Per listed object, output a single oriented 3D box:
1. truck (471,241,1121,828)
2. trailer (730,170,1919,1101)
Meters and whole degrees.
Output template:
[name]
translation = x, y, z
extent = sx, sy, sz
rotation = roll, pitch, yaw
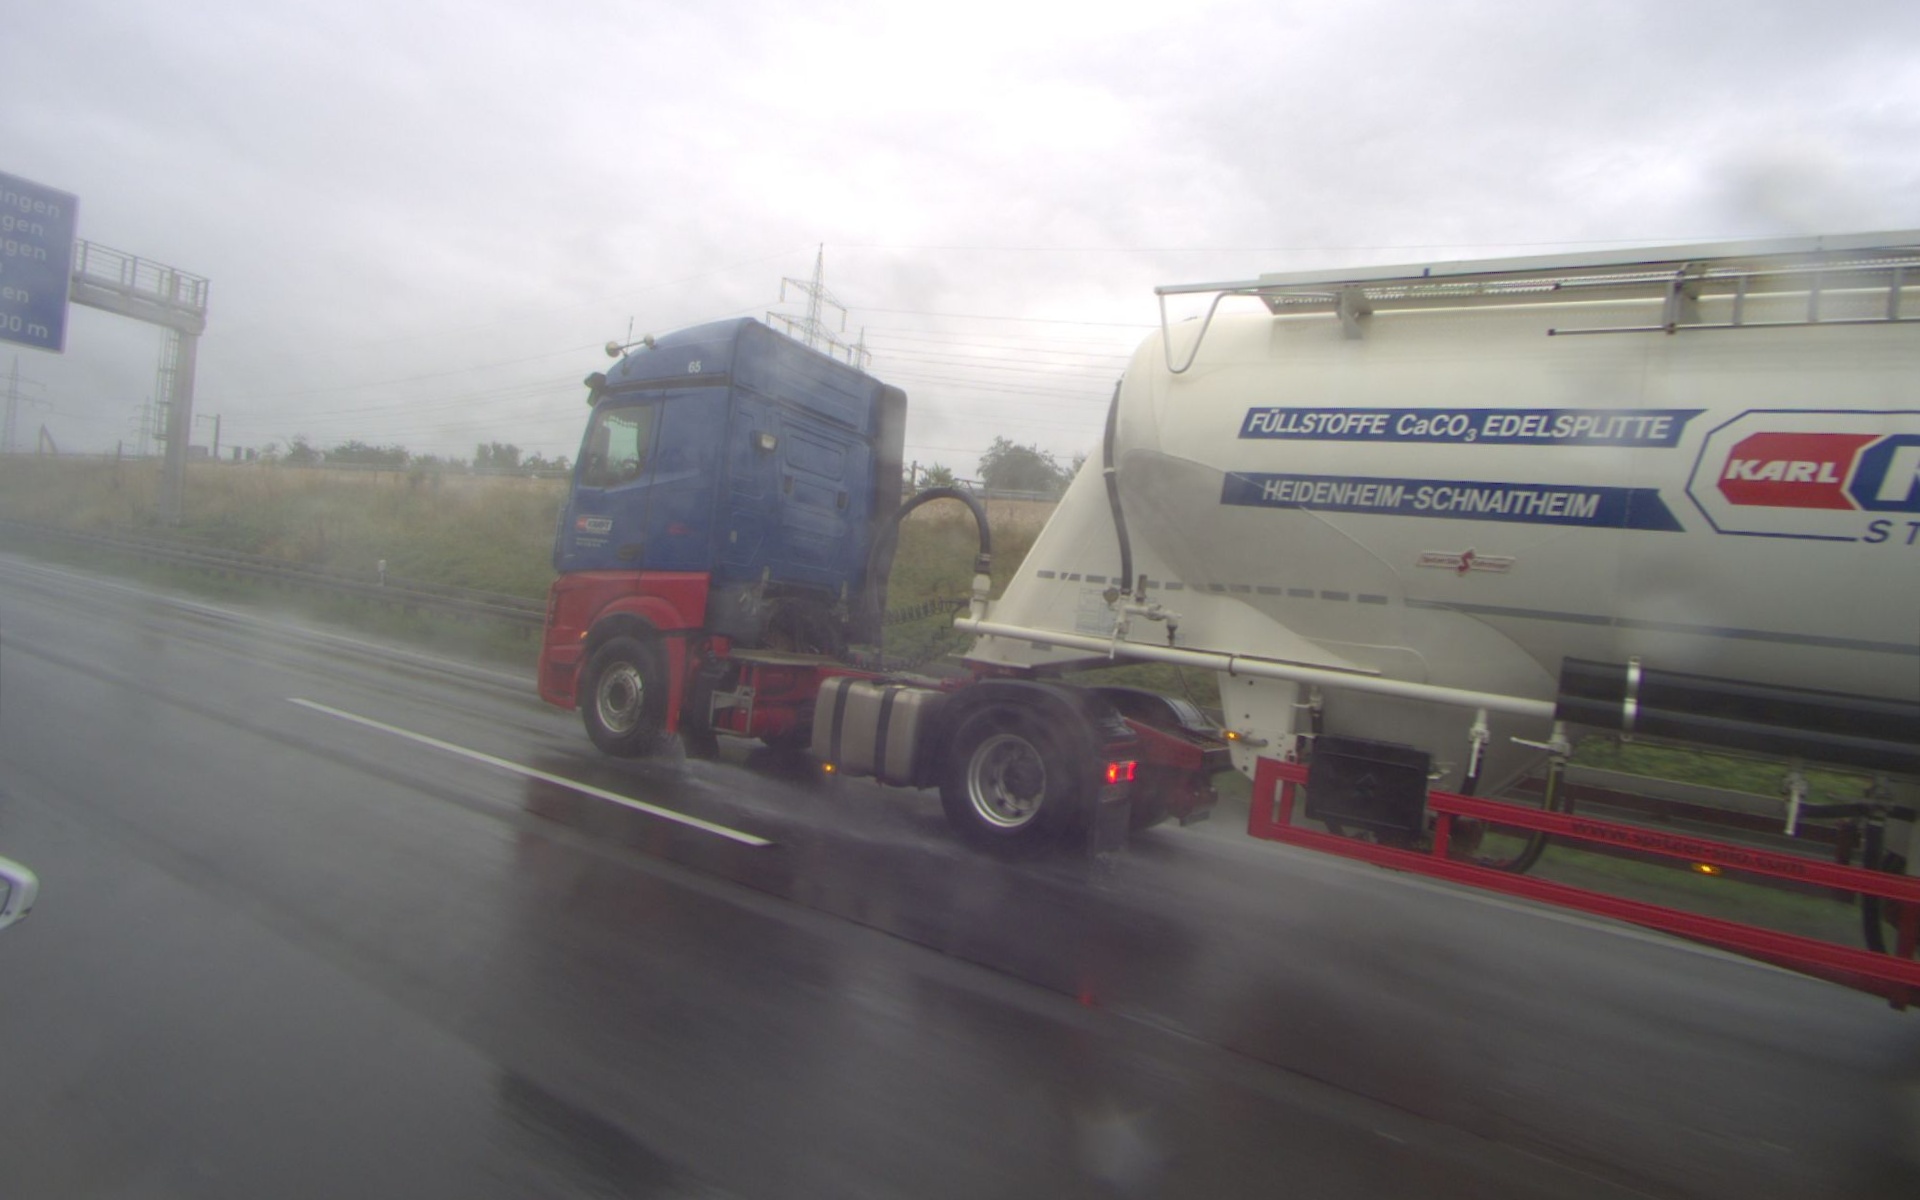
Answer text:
[truck]
translation = -1.577, -0.604, 9.221
extent = 4.991, 4.030, 2.501
rotation = 8, -1, 31
[trailer]
translation = 3.742, 0.100, 5.925
extent = 10.881, 3.928, 2.502
rotation = 8, -1, 31
